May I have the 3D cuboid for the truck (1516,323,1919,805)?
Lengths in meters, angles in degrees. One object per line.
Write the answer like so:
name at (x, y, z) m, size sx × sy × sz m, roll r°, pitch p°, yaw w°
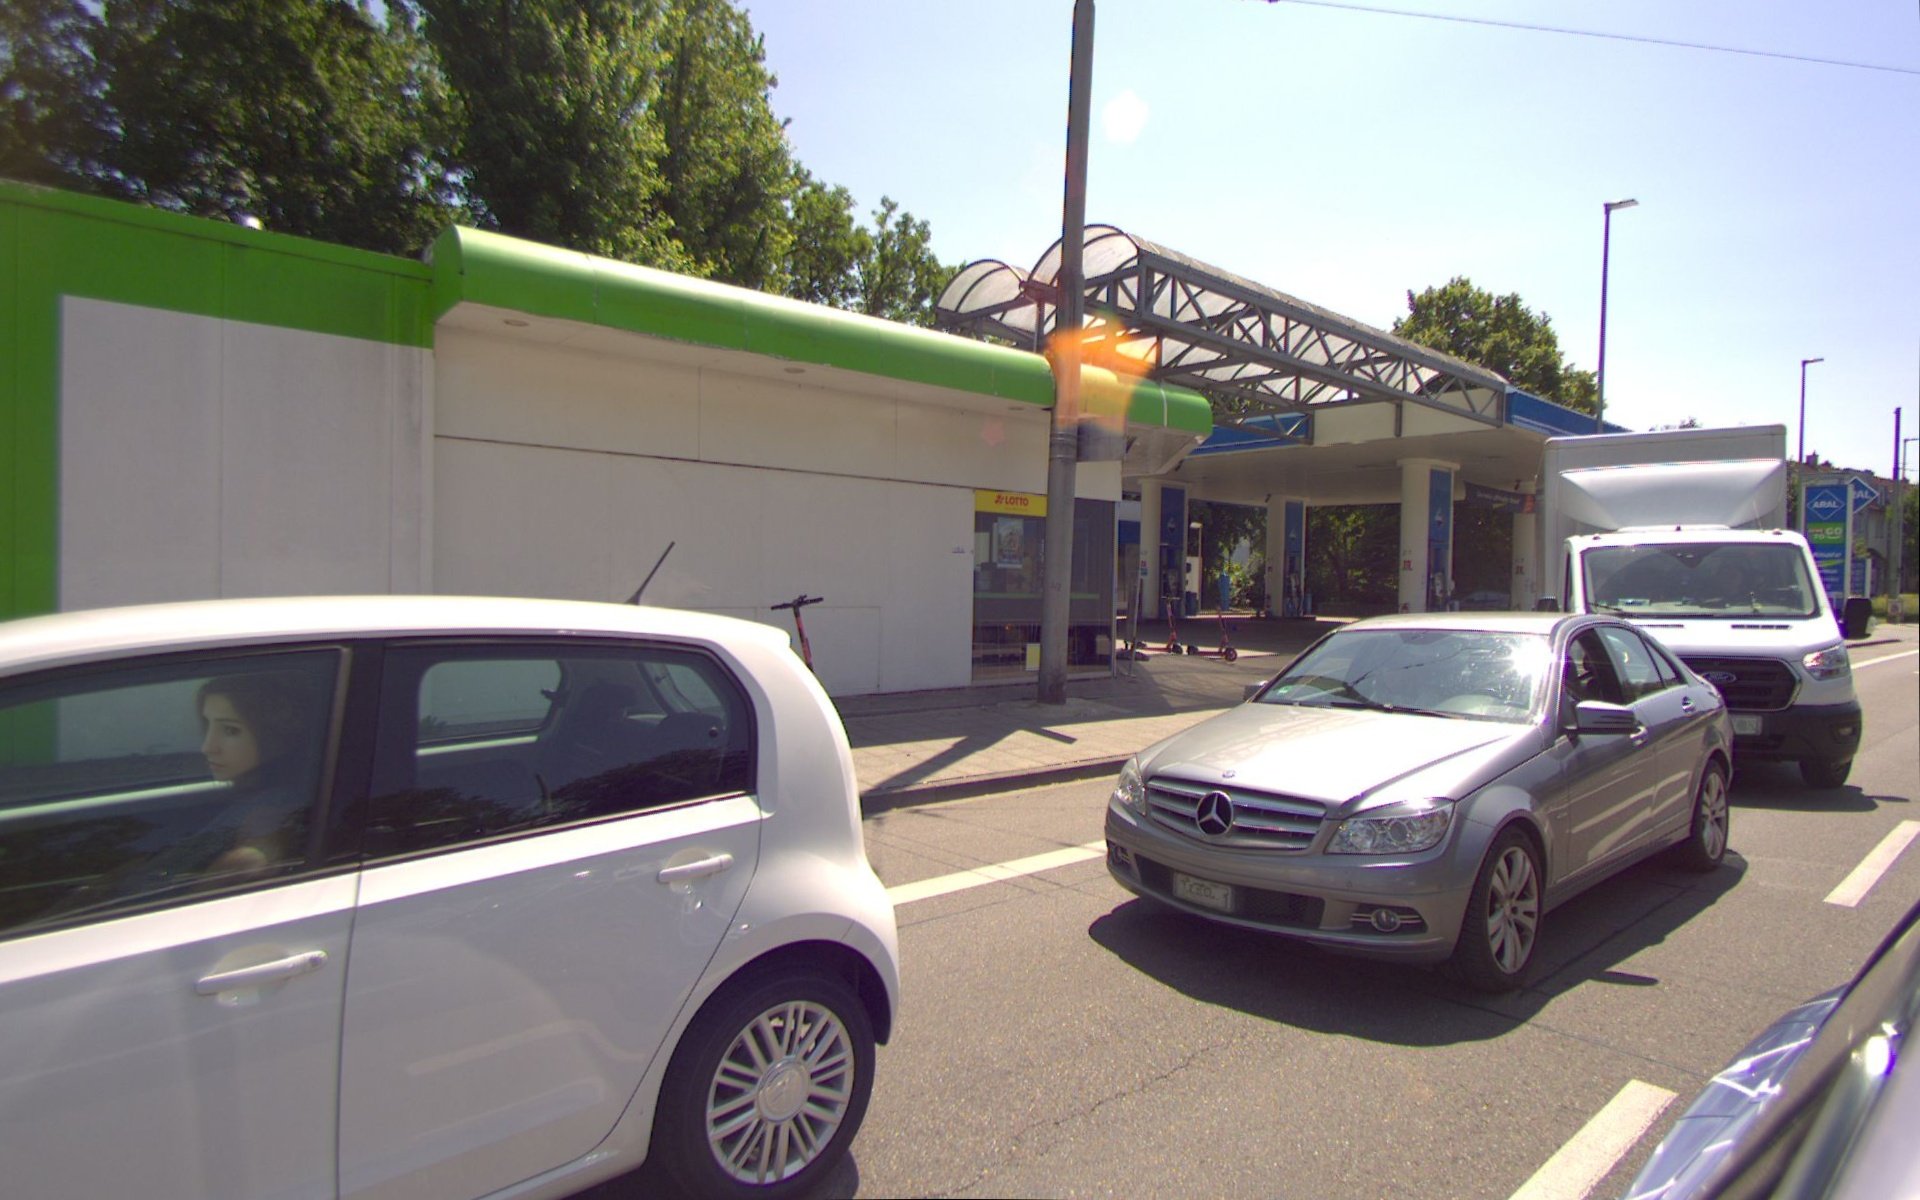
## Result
truck at (7.683, -0.332, 11.183) m, size 2.405 × 3.434 × 7.759 m, roll 1°, pitch 1°, yaw 27°

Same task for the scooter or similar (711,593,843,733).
scooter or similar at (-1.685, 0.550, 9.356) m, size 1.117 × 1.209 × 0.384 m, roll 0°, pitch 4°, yaw -36°

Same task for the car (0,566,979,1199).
car at (-1.785, 0.675, 2.260) m, size 3.458 × 1.470 × 1.610 m, roll 0°, pitch 0°, yaw -40°

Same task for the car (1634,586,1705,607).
car at (57.173, -0.292, 81.599) m, size 1.961 × 1.540 × 4.230 m, roll 0°, pitch 1°, yaw -32°

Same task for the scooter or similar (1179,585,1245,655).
scooter or similar at (4.714, 0.348, 18.958) m, size 0.404 × 1.256 × 1.176 m, roll 0°, pitch 1°, yaw -39°

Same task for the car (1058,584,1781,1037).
car at (2.702, 0.678, 5.412) m, size 4.339 × 1.467 × 1.800 m, roll 0°, pitch 1°, yaw -40°

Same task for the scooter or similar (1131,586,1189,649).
scooter or similar at (3.931, 0.327, 19.912) m, size 0.377 × 1.191 × 1.138 m, roll 0°, pitch 1°, yaw -39°
